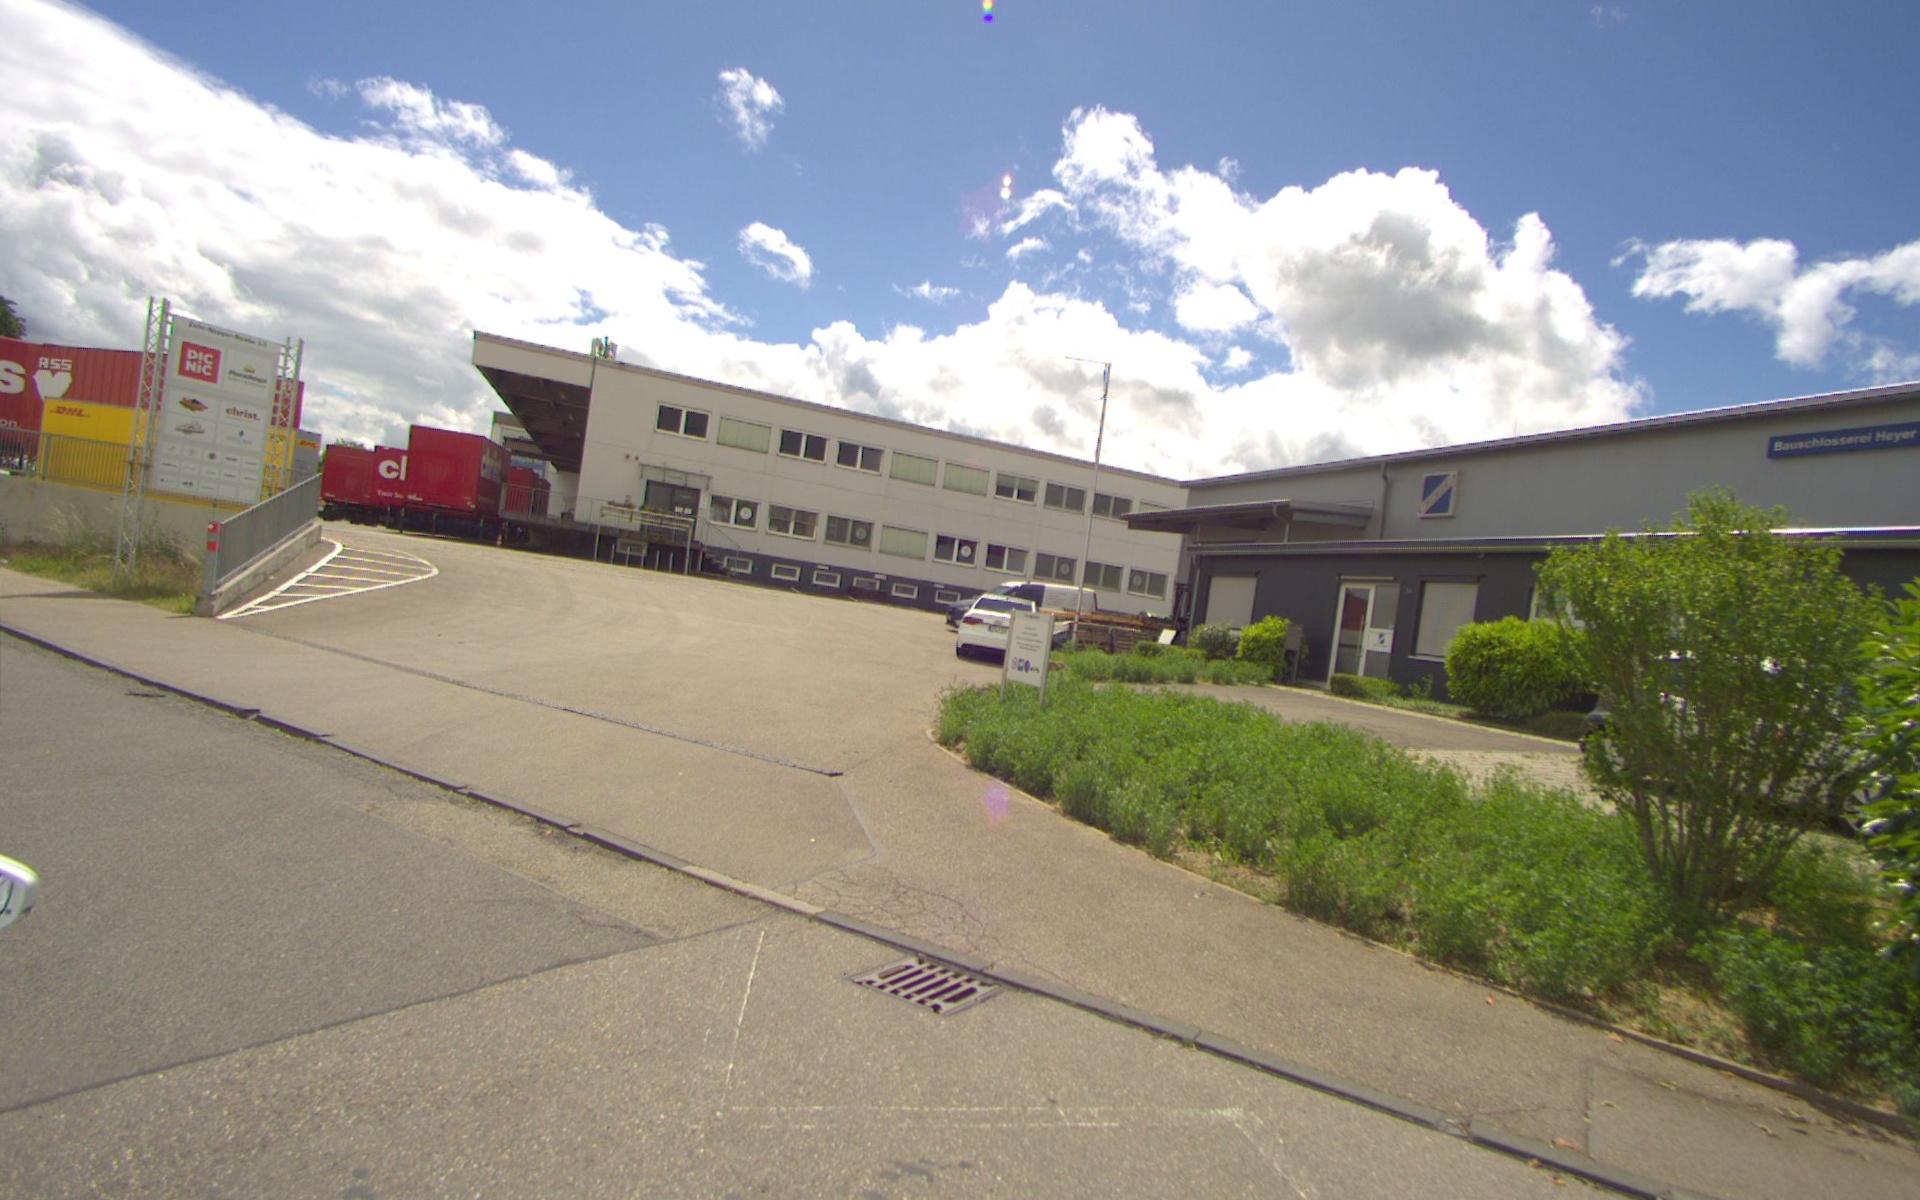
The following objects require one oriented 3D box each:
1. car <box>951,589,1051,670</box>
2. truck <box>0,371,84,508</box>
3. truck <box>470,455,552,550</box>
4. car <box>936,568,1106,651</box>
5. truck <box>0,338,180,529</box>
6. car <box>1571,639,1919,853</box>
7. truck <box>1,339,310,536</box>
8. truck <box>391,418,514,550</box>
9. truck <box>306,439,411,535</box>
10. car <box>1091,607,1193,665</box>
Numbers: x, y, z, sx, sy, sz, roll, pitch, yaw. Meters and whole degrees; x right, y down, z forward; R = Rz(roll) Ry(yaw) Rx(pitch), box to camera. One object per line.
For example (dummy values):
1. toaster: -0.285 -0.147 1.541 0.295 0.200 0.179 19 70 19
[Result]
1. car: 1.068 0.608 23.628 1.823 1.411 4.343 6 4 8
2. truck: -38.394 -6.467 37.257 2.548 4.725 8.436 5 -2 42
3. truck: -25.048 -5.285 56.511 2.955 4.106 8.450 6 -2 -18
4. car: 1.873 0.288 31.208 4.751 1.882 1.851 8 1 -17
5. truck: -28.195 -5.074 29.182 8.407 4.725 2.557 7 -2 -37
6. car: 7.941 1.291 9.470 1.560 1.466 3.404 5 1 -20
7. truck: -21.754 -4.375 27.190 7.717 4.501 2.583 5 -1 20
8. truck: -20.948 -4.552 42.075 2.955 4.106 8.450 6 -2 -18
9. truck: -34.053 -6.225 57.337 2.955 4.106 8.450 6 -2 -18
10. car: 6.251 1.214 34.973 1.658 1.474 4.004 8 1 -18
